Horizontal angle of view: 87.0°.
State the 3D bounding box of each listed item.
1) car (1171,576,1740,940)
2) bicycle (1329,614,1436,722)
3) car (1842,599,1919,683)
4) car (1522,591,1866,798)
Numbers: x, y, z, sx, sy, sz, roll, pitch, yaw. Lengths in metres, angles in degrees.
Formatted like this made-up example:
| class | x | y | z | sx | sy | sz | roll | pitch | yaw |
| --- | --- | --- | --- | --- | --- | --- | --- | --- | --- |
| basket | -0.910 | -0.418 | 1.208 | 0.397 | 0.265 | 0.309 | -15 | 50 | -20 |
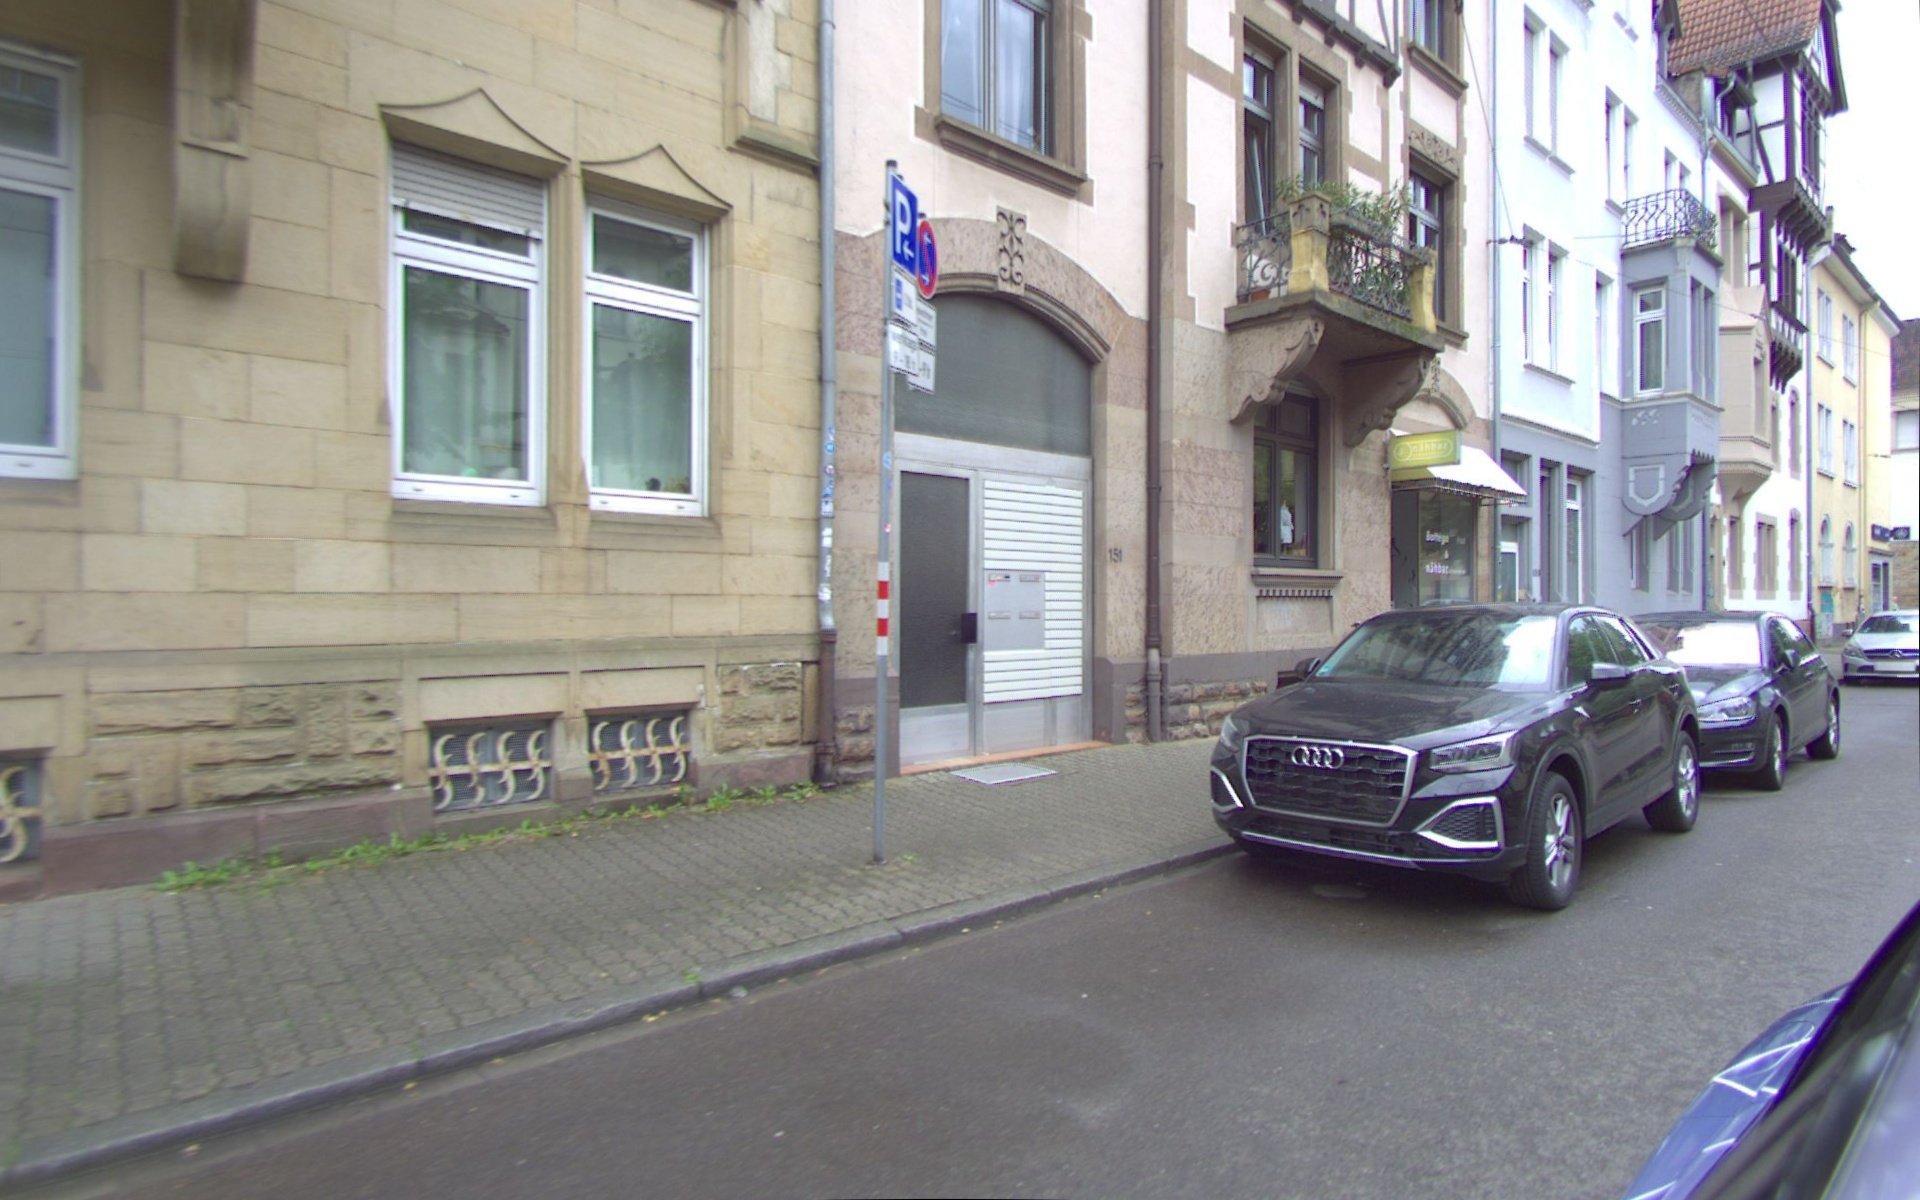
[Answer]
| class | x | y | z | sx | sy | sz | roll | pitch | yaw |
| --- | --- | --- | --- | --- | --- | --- | --- | --- | --- |
| car | 3.354 | 0.706 | 6.394 | 4.344 | 1.533 | 1.699 | 0 | -3 | -42 |
| bicycle | 4.873 | 0.749 | 11.634 | 1.560 | 1.111 | 0.422 | 0 | 4 | -41 |
| car | 18.978 | 0.746 | 19.901 | 4.139 | 1.533 | 1.791 | 0 | -3 | -40 |
| car | 7.100 | 0.742 | 9.612 | 4.315 | 1.533 | 1.699 | 0 | -3 | -42 |
